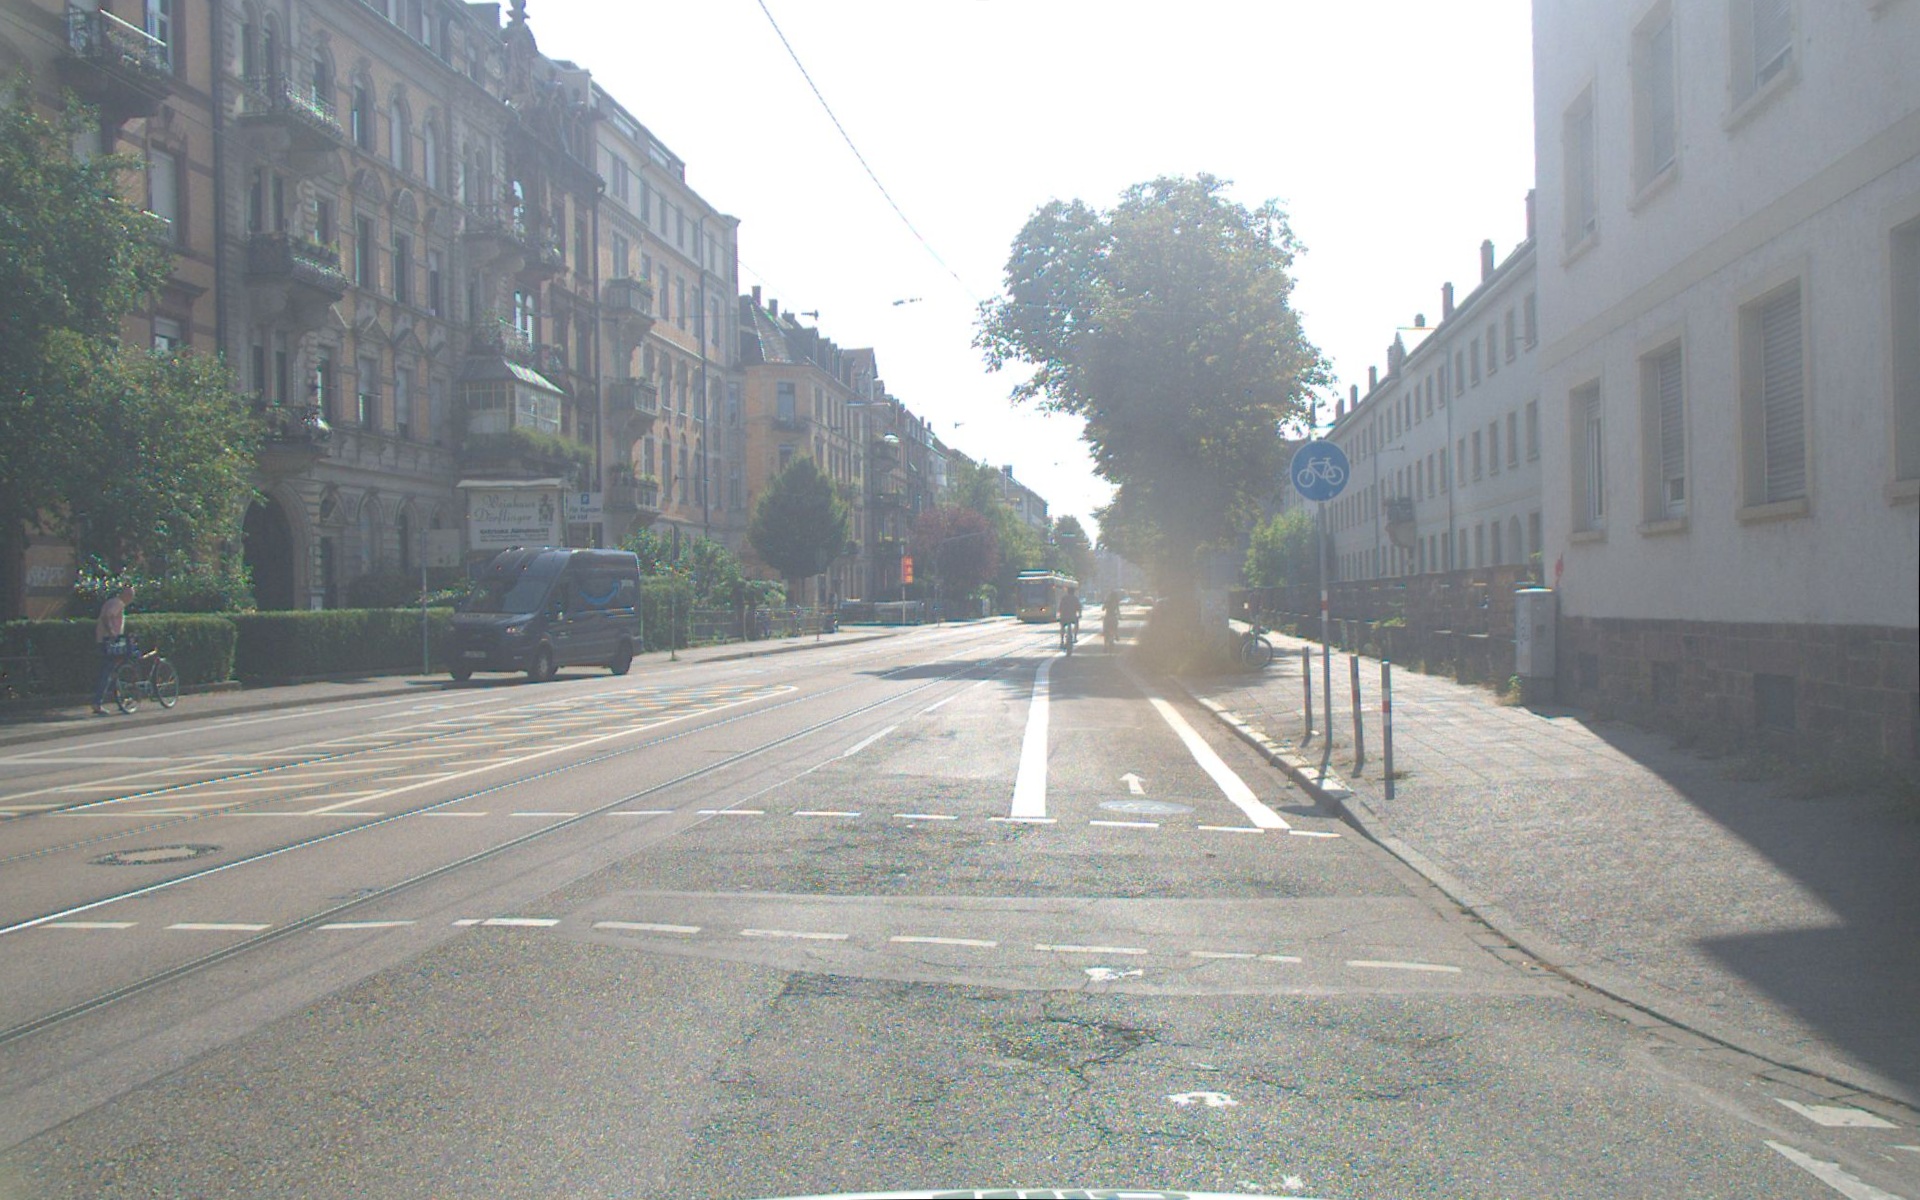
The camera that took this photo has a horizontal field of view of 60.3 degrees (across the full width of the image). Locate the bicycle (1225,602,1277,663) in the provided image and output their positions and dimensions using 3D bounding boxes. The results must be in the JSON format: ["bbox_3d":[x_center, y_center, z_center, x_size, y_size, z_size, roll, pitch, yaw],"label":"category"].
[{"bbox_3d":[5.676,0.619,32.357,0.755,1.123,2.334,-2,0,4],"label":"bicycle"}]

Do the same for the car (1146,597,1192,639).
[{"bbox_3d":[8.063,0.683,63.969,1.610,1.473,4.249,-3,-1,7],"label":"car"}]

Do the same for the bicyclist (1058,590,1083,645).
[{"bbox_3d":[2.915,0.451,43.425,0.613,1.425,0.930,0,-1,6],"label":"bicyclist"}]

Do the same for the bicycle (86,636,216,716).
[{"bbox_3d":[-11.557,1.062,23.712,0.605,1.024,2.152,-1,0,6],"label":"bicycle"}]

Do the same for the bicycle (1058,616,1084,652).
[{"bbox_3d":[2.923,0.887,43.411,0.613,0.925,1.526,0,0,6],"label":"bicycle"}]

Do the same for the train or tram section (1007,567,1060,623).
[{"bbox_3d":[5.180,-0.295,113.832,2.676,3.567,15.443,-1,0,6],"label":"train or tram section"}]

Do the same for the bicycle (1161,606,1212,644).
[{"bbox_3d":[6.817,0.749,49.698,1.714,1.092,0.517,-1,-1,-42],"label":"bicycle"}]

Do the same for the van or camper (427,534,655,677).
[{"bbox_3d":[-8.687,0.131,35.006,2.007,2.691,6.094,-2,-1,13],"label":"van or camper"}]

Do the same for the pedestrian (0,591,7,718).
[{"bbox_3d":[-13.196,0.740,22.036,0.624,1.708,0.633,-1,0,-5],"label":"pedestrian"}]

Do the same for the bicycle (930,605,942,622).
[{"bbox_3d":[-1.593,0.926,110.581,0.497,1.127,2.005,-2,-1,7],"label":"bicycle"}]

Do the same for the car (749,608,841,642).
[{"bbox_3d":[-7.915,1.216,79.424,4.049,1.570,2.066,-1,-1,6],"label":"car"}]

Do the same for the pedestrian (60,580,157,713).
[{"bbox_3d":[-12.073,0.644,23.481,0.712,1.838,1.094,-1,0,5],"label":"pedestrian"}]

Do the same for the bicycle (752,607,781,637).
[{"bbox_3d":[-7.358,0.819,62.823,0.593,1.076,1.841,2,0,8],"label":"bicycle"}]

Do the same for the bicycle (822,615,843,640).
[{"bbox_3d":[-5.843,1.259,75.699,0.533,1.076,1.841,2,0,8],"label":"bicycle"}]

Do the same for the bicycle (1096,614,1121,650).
[{"bbox_3d":[3.863,0.824,42.966,0.640,0.925,1.776,0,0,6],"label":"bicycle"}]

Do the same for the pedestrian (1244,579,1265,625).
[{"bbox_3d":[11.390,0.074,63.909,0.736,1.779,0.879,-1,0,13],"label":"pedestrian"}]

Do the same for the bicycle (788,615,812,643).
[{"bbox_3d":[-6.635,1.197,68.713,0.533,1.076,1.841,2,0,8],"label":"bicycle"}]

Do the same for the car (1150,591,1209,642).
[{"bbox_3d":[7.474,0.544,56.064,1.610,1.567,3.845,-3,-1,12],"label":"car"}]

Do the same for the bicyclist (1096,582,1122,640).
[{"bbox_3d":[3.872,0.282,42.955,0.640,1.500,0.909,0,-1,6],"label":"bicyclist"}]
